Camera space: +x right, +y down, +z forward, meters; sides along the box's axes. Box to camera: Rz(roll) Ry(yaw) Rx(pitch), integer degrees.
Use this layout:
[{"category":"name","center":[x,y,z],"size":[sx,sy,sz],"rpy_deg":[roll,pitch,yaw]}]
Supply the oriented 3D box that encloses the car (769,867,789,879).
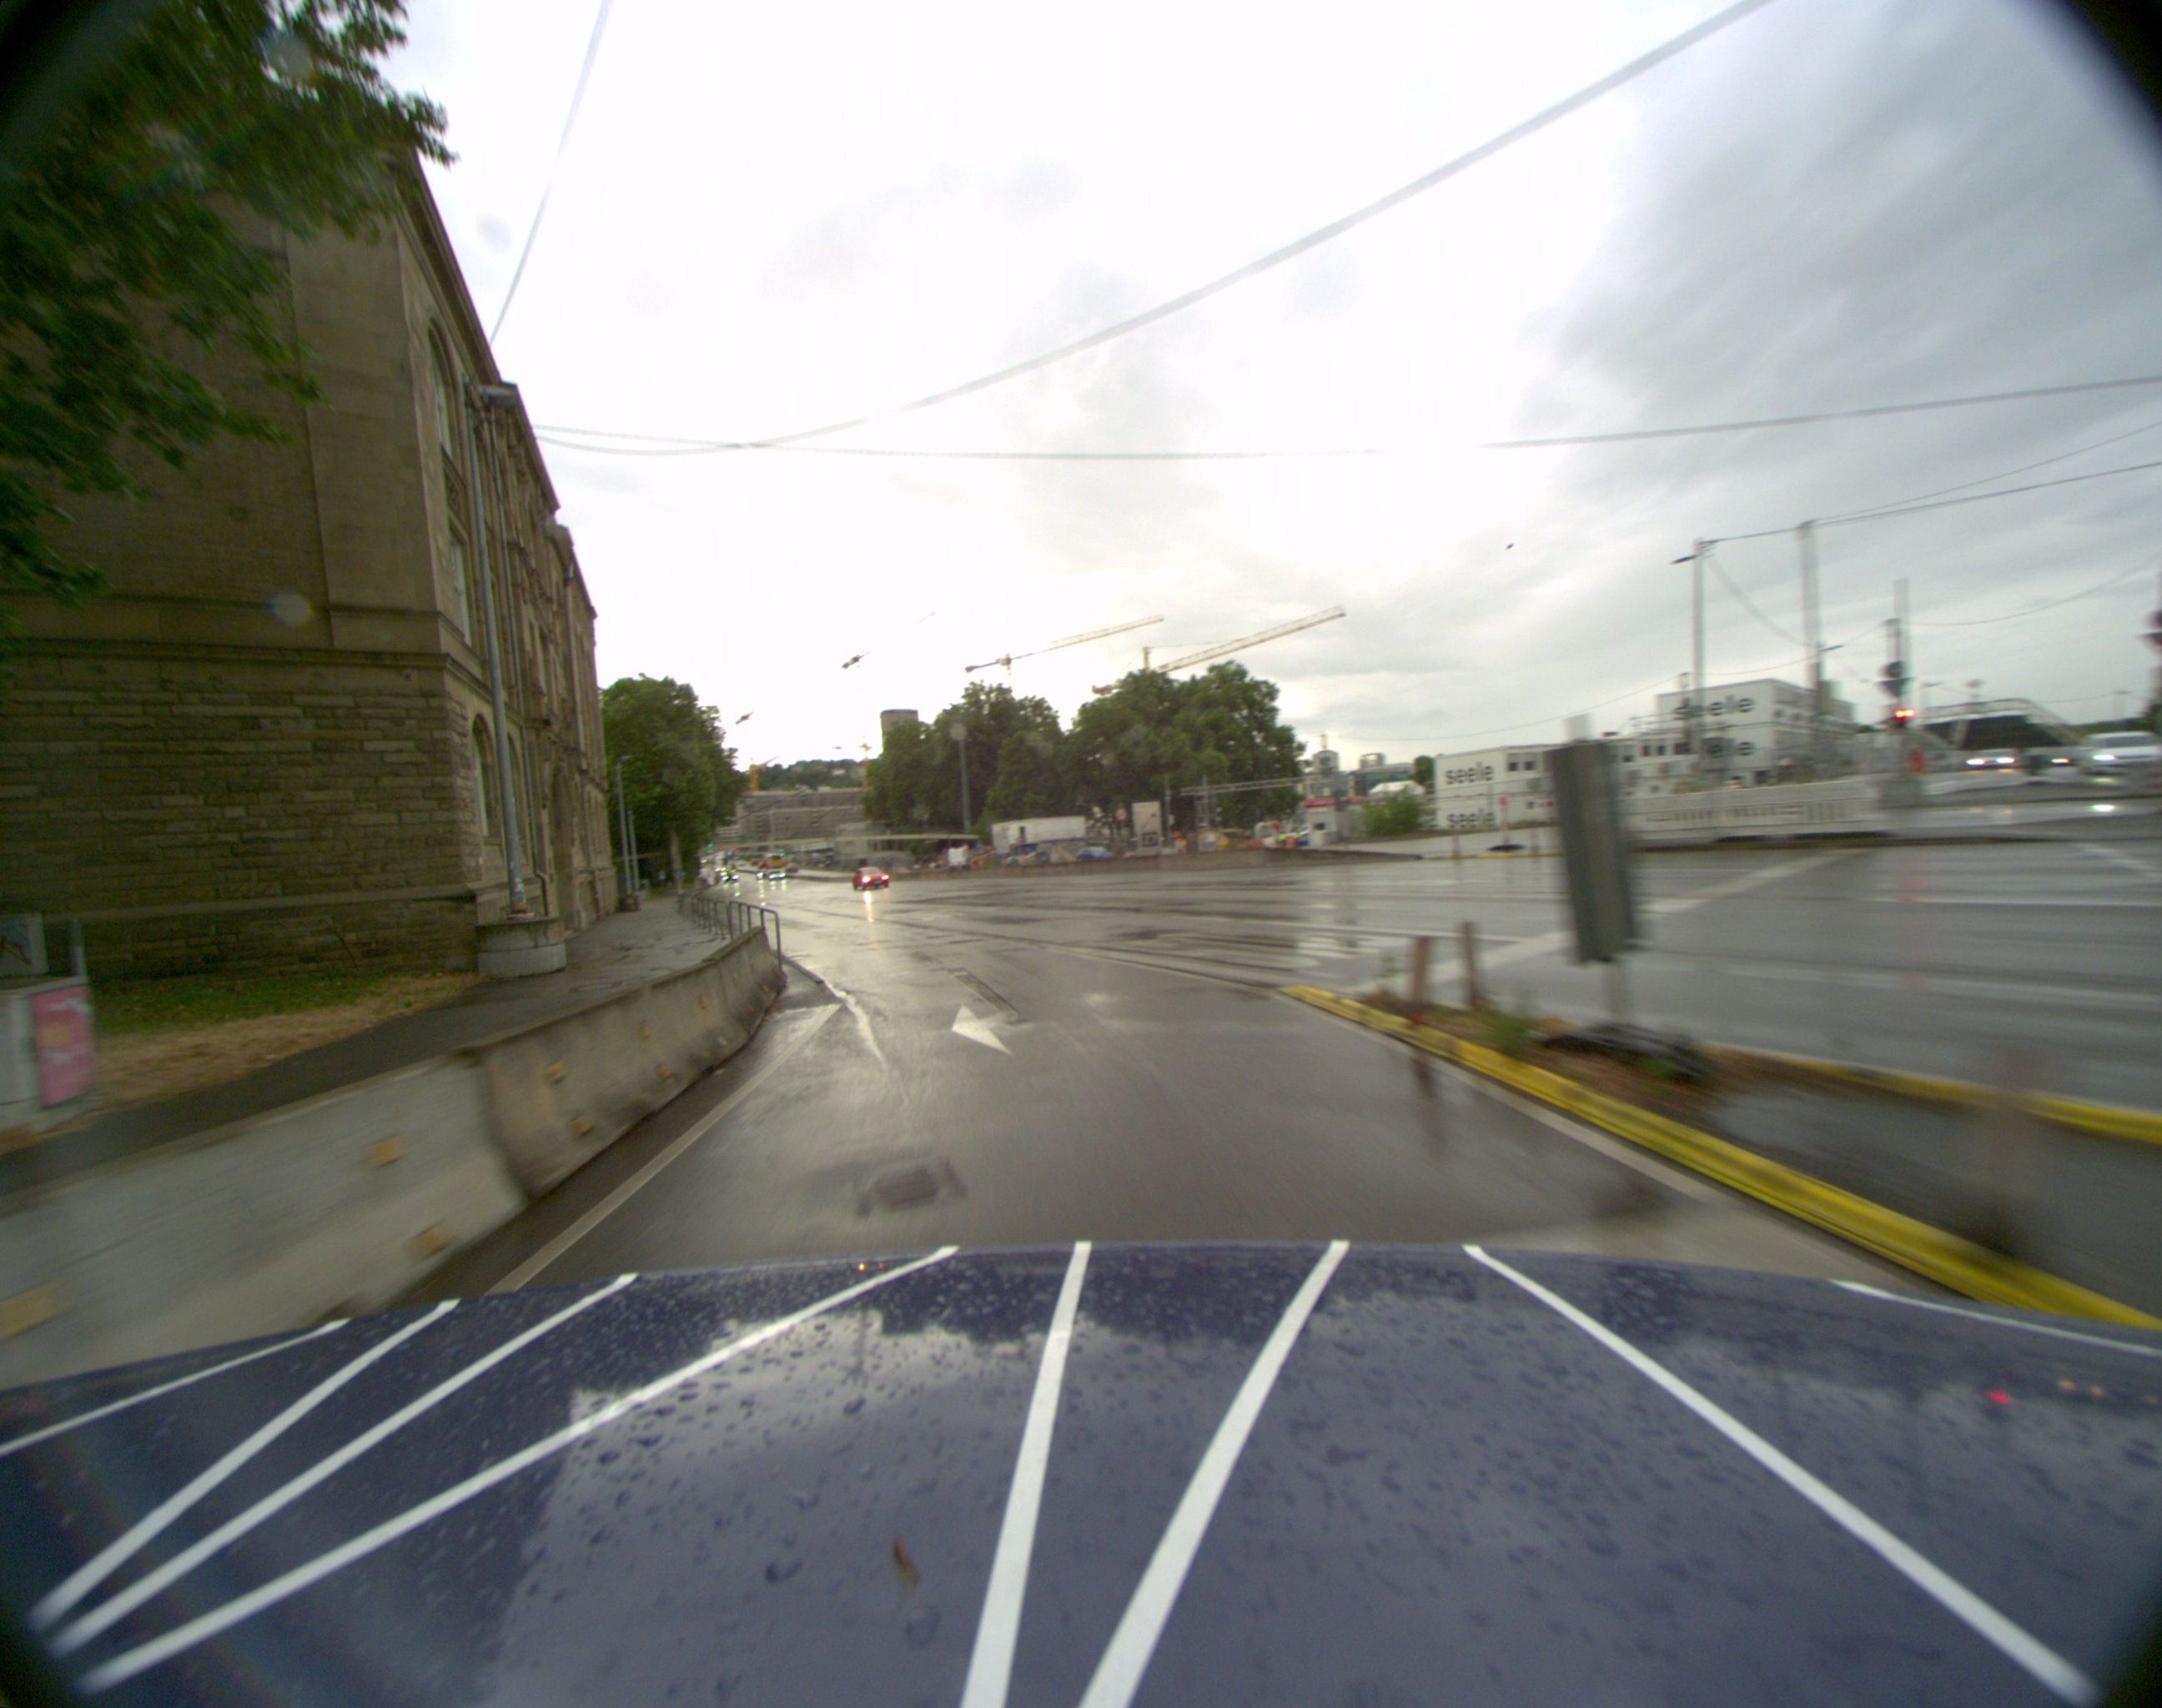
[{"category":"car","center":[-43.979,2.742,110.648],"size":[1.991,1.567,4.430],"rpy_deg":[-6,1,-30]}]

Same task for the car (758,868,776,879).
[{"category":"car","center":[-50.140,3.173,121.199],"size":[1.991,1.567,4.430],"rpy_deg":[-6,1,-30]}]

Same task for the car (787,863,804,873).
[{"category":"car","center":[-52.023,2.530,138.203],"size":[1.844,1.567,4.430],"rpy_deg":[-6,1,-33]}]

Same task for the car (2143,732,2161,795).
[{"category":"car","center":[34.853,-2.901,22.874],"size":[1.995,2.002,4.430],"rpy_deg":[-4,1,36]}]

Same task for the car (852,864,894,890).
[{"category":"car","center":[-14.121,1.560,51.441],"size":[1.693,1.543,3.992],"rpy_deg":[-6,1,-30]}]

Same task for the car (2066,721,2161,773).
[{"category":"car","center":[43.325,-4.420,31.755],"size":[1.995,1.761,4.364],"rpy_deg":[-5,1,44]}]

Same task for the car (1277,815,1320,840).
[{"category":"car","center":[23.990,-2.910,83.946],"size":[3.990,2.370,2.003],"rpy_deg":[-5,1,34]}]

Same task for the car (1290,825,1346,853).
[{"category":"car","center":[16.899,-1.096,54.075],"size":[4.006,1.499,1.995],"rpy_deg":[-8,2,-43]}]

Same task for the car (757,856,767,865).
[{"category":"car","center":[-82.853,1.657,197.075],"size":[2.002,2.002,3.992],"rpy_deg":[-6,1,-26]}]

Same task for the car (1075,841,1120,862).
[{"category":"car","center":[1.336,-0.152,63.451],"size":[1.843,1.481,4.431],"rpy_deg":[-6,1,-25]}]

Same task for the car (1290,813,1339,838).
[{"category":"car","center":[26.256,-3.221,85.499],"size":[4.939,2.370,2.002],"rpy_deg":[-5,1,24]}]

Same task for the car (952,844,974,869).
[{"category":"car","center":[-13.882,0.292,89.825],"size":[2.079,2.722,4.590],"rpy_deg":[-5,1,-5]}]

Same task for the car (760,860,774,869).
[{"category":"car","center":[-67.298,2.220,162.839],"size":[1.844,1.567,4.430],"rpy_deg":[-6,1,-33]}]

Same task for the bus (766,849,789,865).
[{"category":"bus","center":[-68.613,0.676,171.810],"size":[3.276,2.924,8.935],"rpy_deg":[-8,2,-29]}]

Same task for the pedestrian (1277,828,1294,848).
[{"category":"pedestrian","center":[14.904,-1.188,55.331],"size":[0.745,1.344,0.836],"rpy_deg":[-6,1,-24]}]

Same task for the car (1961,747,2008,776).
[{"category":"car","center":[64.748,-6.620,54.454],"size":[4.363,1.761,1.995],"rpy_deg":[-6,1,-40]}]

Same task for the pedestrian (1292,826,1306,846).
[{"category":"pedestrian","center":[15.921,-1.317,55.564],"size":[0.743,1.344,0.839],"rpy_deg":[-5,1,24]}]

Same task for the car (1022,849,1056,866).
[{"category":"car","center":[-4.220,0.349,75.642],"size":[1.843,1.481,4.432],"rpy_deg":[-6,1,-23]}]

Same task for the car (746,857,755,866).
[{"category":"car","center":[-86.883,1.923,199.678],"size":[2.002,2.002,3.992],"rpy_deg":[-6,1,-26]}]
